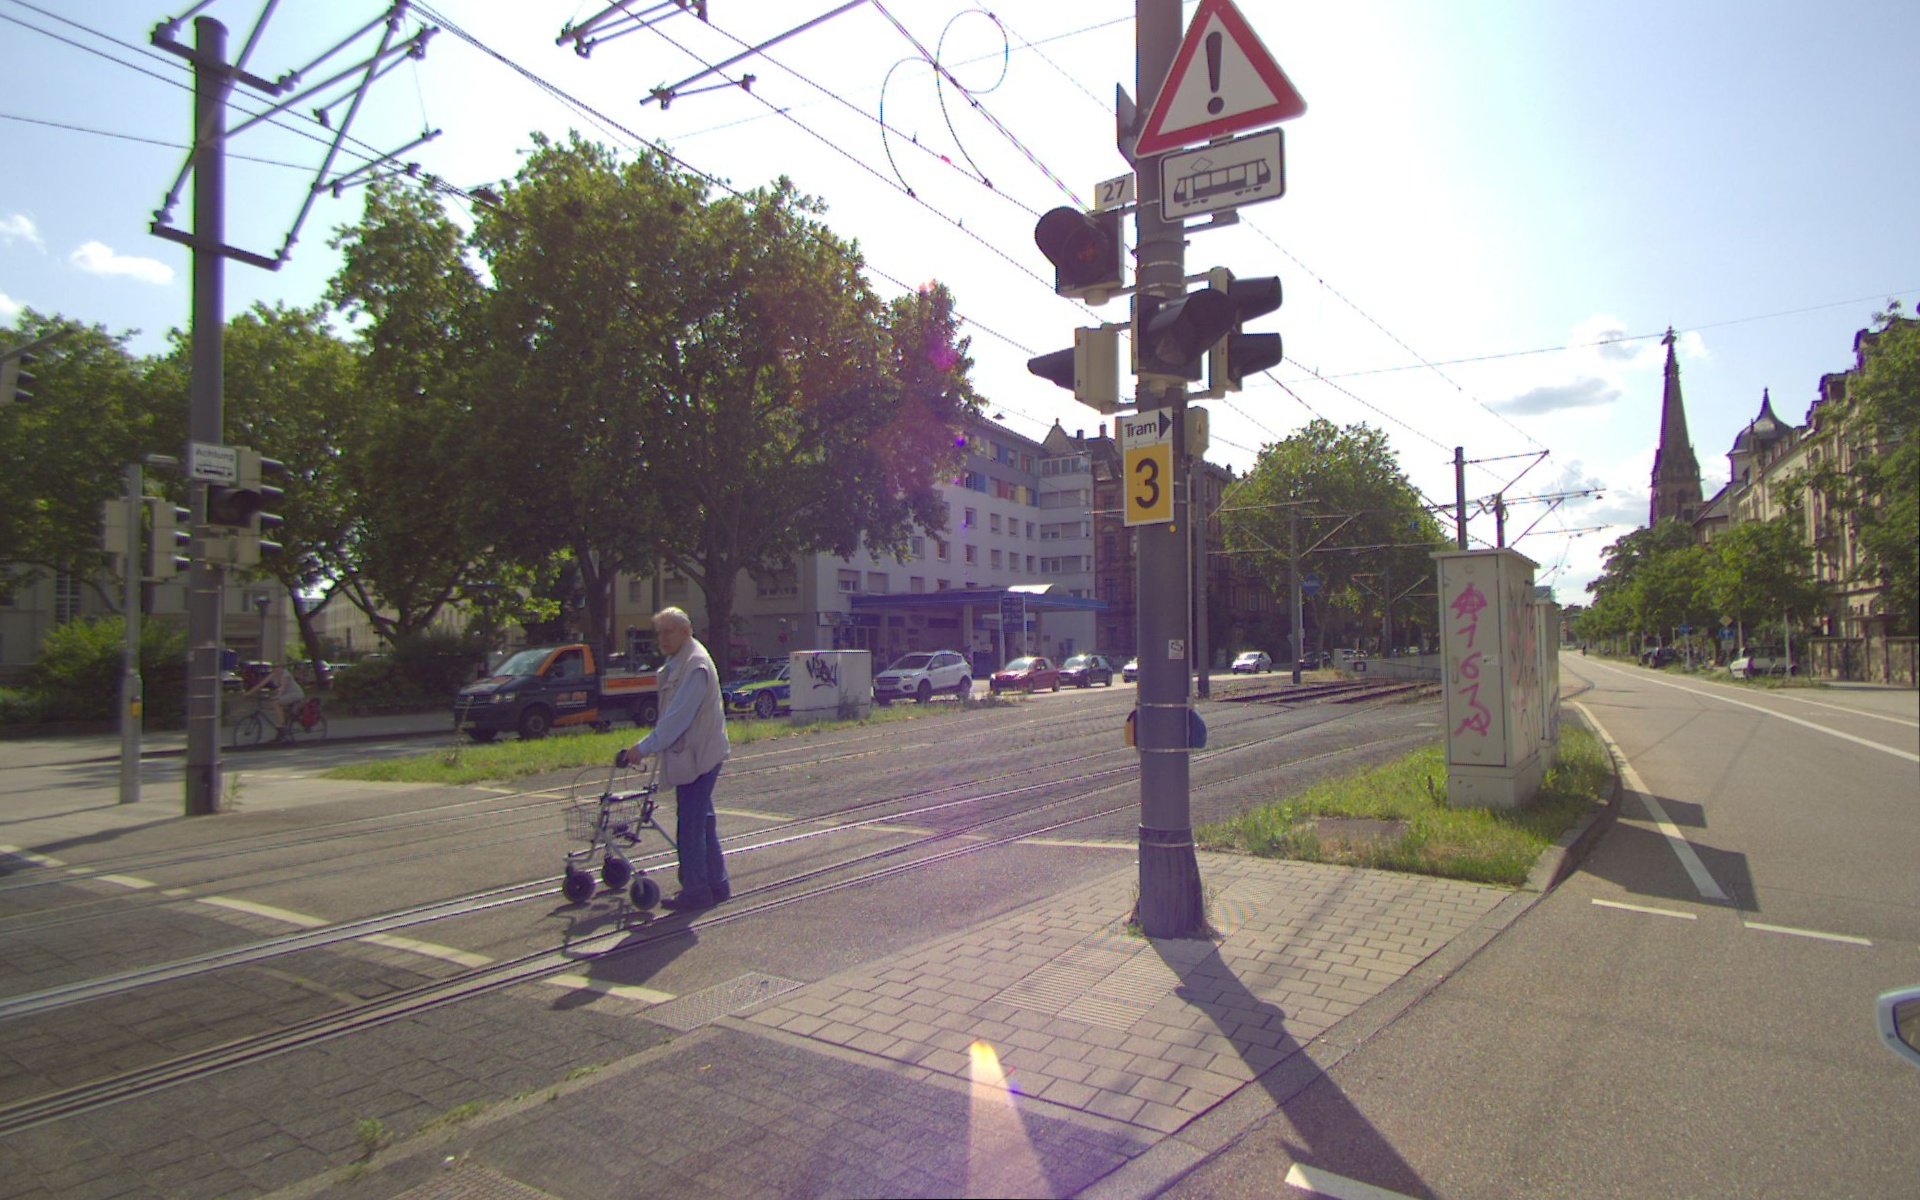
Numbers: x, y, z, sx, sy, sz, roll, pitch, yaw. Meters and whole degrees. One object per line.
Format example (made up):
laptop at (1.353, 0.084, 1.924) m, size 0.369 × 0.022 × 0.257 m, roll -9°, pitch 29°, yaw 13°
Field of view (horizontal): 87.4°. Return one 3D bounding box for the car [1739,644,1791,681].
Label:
car at (33.971, 2.592, 42.436) m, size 1.648 × 1.435 × 3.828 m, roll -1°, pitch -2°, yaw 38°

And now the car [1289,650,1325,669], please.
car at (26.993, 4.613, 78.007) m, size 1.647 × 1.435 × 3.770 m, roll -3°, pitch -3°, yaw 35°

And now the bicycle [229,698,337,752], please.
bicycle at (-13.314, 2.445, 19.794) m, size 0.464 × 0.933 × 1.710 m, roll -3°, pitch -3°, yaw 38°

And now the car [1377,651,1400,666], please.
car at (53.847, 7.292, 126.165) m, size 1.697 × 1.713 × 3.716 m, roll -5°, pitch -4°, yaw 36°

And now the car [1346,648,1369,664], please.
car at (41.194, 5.792, 103.984) m, size 1.619 × 1.501 × 3.995 m, roll -5°, pitch -4°, yaw 29°

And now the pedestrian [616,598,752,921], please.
pedestrian at (-1.596, 0.884, 5.852) m, size 0.518 × 1.755 × 0.557 m, roll -1°, pitch -2°, yaw 25°

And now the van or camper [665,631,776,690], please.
van or camper at (-11.603, 2.927, 49.063) m, size 2.073 × 2.675 × 5.338 m, roll -5°, pitch -4°, yaw 31°

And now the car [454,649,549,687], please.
car at (-25.985, 3.843, 57.107) m, size 1.965 × 1.959 × 4.675 m, roll -5°, pitch -4°, yaw 29°

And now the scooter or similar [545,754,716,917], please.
scooter or similar at (-1.964, 1.374, 6.015) m, size 0.825 × 0.814 × 0.553 m, roll -2°, pitch -3°, yaw 26°

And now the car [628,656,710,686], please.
car at (-14.375, 3.505, 49.799) m, size 1.452 × 1.310 × 3.994 m, roll -5°, pitch -4°, yaw 29°

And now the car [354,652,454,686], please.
car at (-34.556, 4.279, 62.619) m, size 1.964 × 1.896 × 5.247 m, roll -5°, pitch -4°, yaw 27°

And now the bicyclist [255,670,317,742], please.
bicyclist at (-13.296, 2.076, 19.835) m, size 0.464 × 1.361 × 0.905 m, roll -3°, pitch -3°, yaw 38°

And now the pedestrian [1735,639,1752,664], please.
pedestrian at (51.199, 3.375, 65.664) m, size 0.713 × 1.650 × 0.723 m, roll -2°, pitch -3°, yaw 30°

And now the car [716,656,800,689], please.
car at (-9.438, 3.384, 47.168) m, size 1.726 × 1.429 × 3.994 m, roll -3°, pitch -3°, yaw 29°

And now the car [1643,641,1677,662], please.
car at (51.554, 3.780, 74.053) m, size 1.662 × 1.522 × 4.699 m, roll -2°, pitch -3°, yaw 31°

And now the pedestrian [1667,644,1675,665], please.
pedestrian at (59.108, 4.492, 83.487) m, size 0.315 × 1.728 × 0.458 m, roll -6°, pitch -5°, yaw 44°

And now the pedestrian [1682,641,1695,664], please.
pedestrian at (60.510, 4.379, 83.431) m, size 0.659 × 1.827 × 0.319 m, roll -5°, pitch -4°, yaw 29°

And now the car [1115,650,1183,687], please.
car at (9.939, 3.542, 52.489) m, size 1.919 × 1.628 × 5.067 m, roll -2°, pitch -2°, yaw 30°

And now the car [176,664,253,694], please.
car at (-40.752, 4.324, 54.907) m, size 4.009 × 1.553 × 1.849 m, roll -2°, pitch -3°, yaw 28°

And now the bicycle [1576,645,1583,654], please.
bicycle at (94.309, 7.517, 152.899) m, size 0.787 × 1.253 × 2.772 m, roll -2°, pitch -3°, yaw 31°

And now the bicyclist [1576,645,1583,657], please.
bicyclist at (94.306, 7.758, 152.896) m, size 0.759 × 1.753 × 1.024 m, roll -2°, pitch -3°, yaw 31°

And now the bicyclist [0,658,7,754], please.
bicyclist at (-17.181, 1.870, 17.582) m, size 0.500 × 1.690 × 0.581 m, roll 1°, pitch -1°, yaw -20°

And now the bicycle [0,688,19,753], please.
bicycle at (-17.157, 2.147, 17.496) m, size 0.499 × 1.127 × 1.624 m, roll 1°, pitch -1°, yaw -20°

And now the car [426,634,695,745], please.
car at (-8.439, 1.807, 21.822) m, size 2.045 × 2.013 × 5.326 m, roll -2°, pitch -2°, yaw 30°

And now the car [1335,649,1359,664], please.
car at (37.792, 5.547, 98.039) m, size 1.477 × 1.320 × 3.483 m, roll -5°, pitch -5°, yaw 32°

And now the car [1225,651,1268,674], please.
car at (19.822, 4.293, 69.280) m, size 1.698 × 1.434 × 4.395 m, roll -3°, pitch -4°, yaw 31°

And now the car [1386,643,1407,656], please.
car at (60.418, 6.844, 139.027) m, size 1.966 × 1.657 × 3.991 m, roll -5°, pitch -5°, yaw 32°

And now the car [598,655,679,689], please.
car at (-16.420, 3.668, 51.519) m, size 1.503 × 1.624 × 3.994 m, roll -4°, pitch -4°, yaw 29°

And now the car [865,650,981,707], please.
car at (-1.177, 2.623, 34.250) m, size 1.734 × 1.628 × 4.670 m, roll -2°, pitch -2°, yaw 30°

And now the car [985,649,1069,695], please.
car at (2.719, 2.837, 40.181) m, size 1.687 × 1.628 × 4.136 m, roll -2°, pitch -2°, yaw 30°

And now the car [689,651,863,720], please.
car at (-4.981, 2.311, 27.986) m, size 1.840 × 1.673 × 5.144 m, roll -4°, pitch -4°, yaw 30°

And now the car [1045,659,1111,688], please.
car at (5.343, 3.271, 45.138) m, size 1.593 × 1.204 × 3.625 m, roll -2°, pitch -3°, yaw 31°

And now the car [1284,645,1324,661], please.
car at (41.718, 6.404, 121.892) m, size 4.337 × 1.943 × 1.997 m, roll -2°, pitch -3°, yaw 29°

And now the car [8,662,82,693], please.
car at (-52.406, 4.441, 57.536) m, size 4.009 × 1.681 × 1.849 m, roll -2°, pitch -3°, yaw 28°
